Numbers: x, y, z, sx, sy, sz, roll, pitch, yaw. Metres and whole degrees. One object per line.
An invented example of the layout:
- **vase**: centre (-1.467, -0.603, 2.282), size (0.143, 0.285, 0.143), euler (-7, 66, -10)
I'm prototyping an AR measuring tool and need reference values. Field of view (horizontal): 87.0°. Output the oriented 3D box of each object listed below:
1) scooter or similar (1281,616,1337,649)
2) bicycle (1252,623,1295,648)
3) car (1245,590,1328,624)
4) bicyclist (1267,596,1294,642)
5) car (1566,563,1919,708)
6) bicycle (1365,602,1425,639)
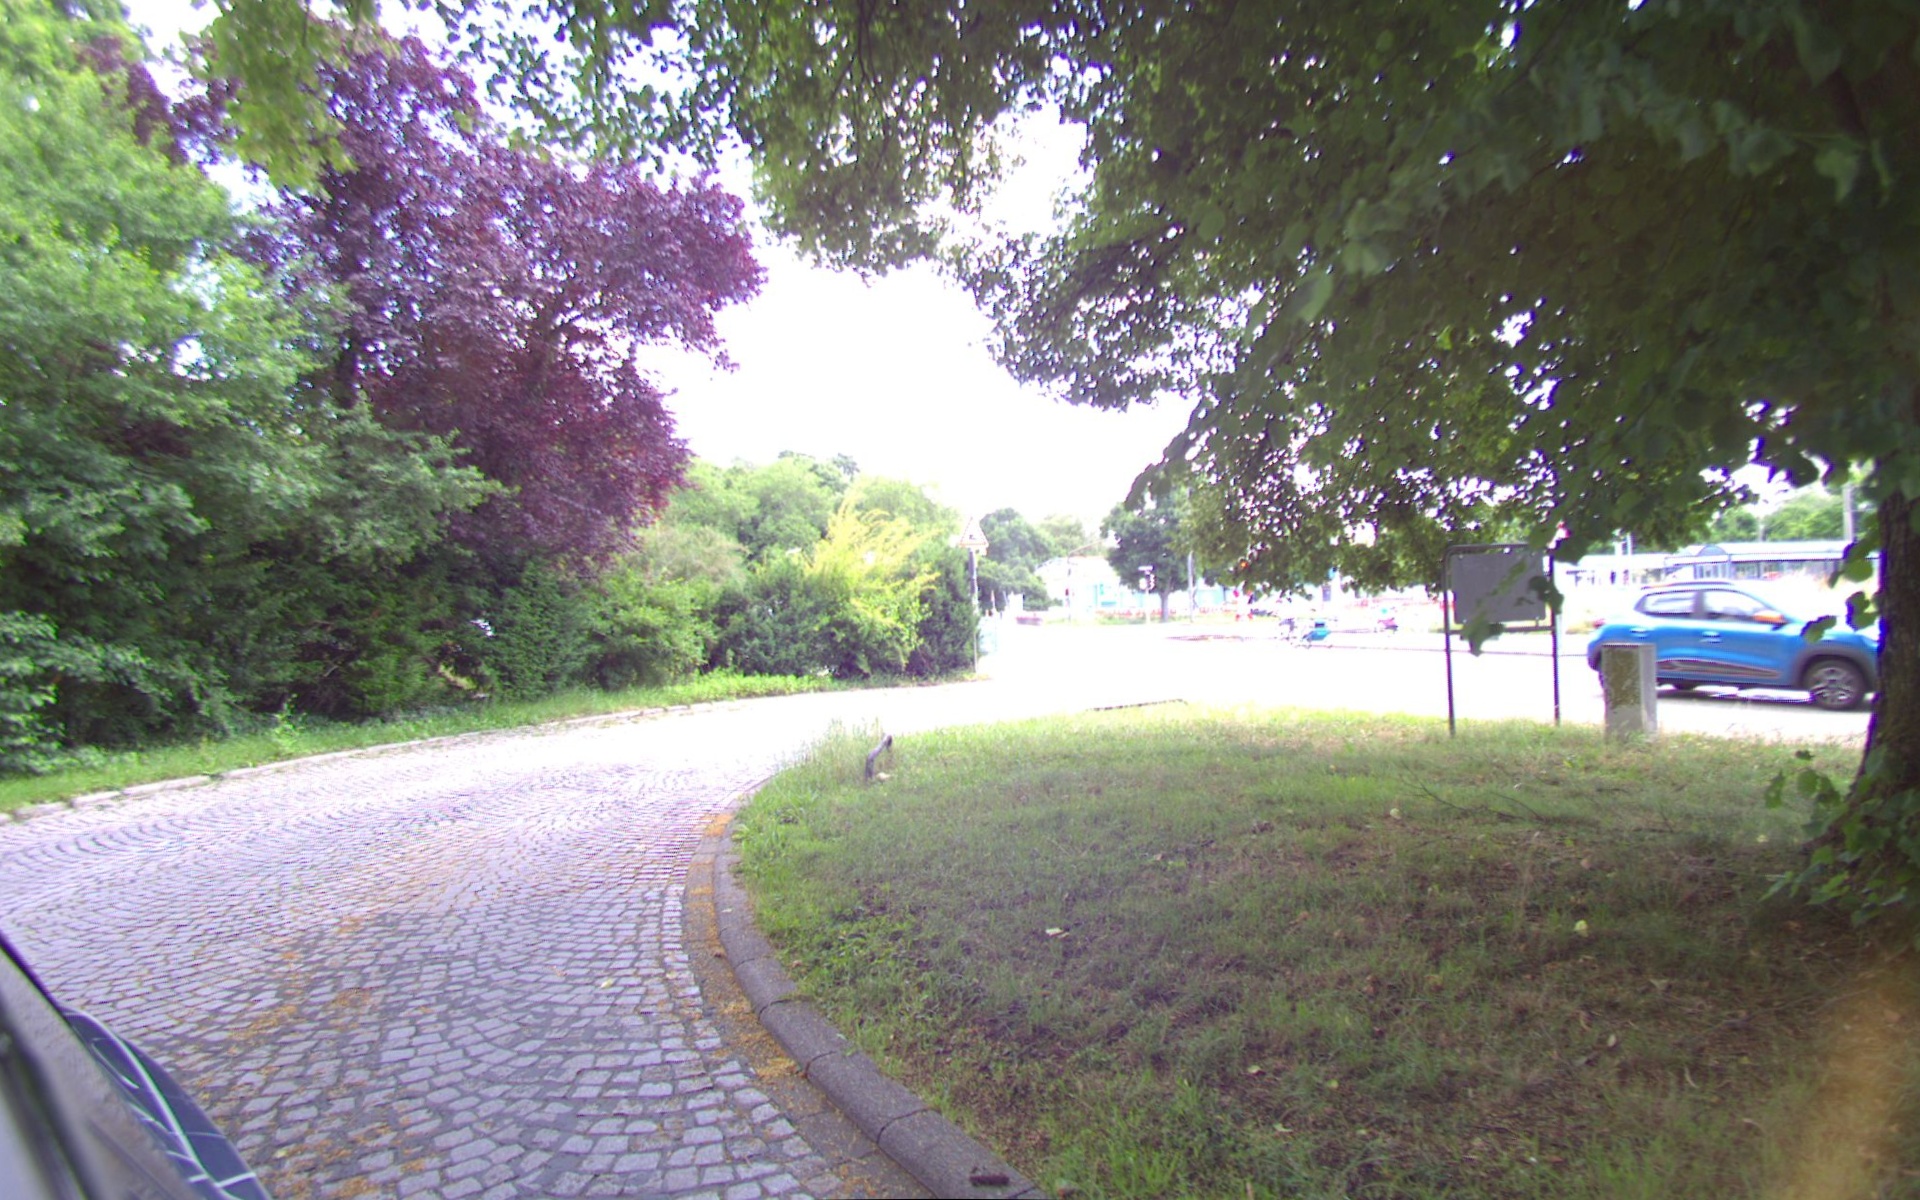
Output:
- **scooter or similar**: centre (11.093, 1.040, 32.212), size (0.946, 0.987, 1.583), euler (-2, -1, -13)
- **bicycle**: centre (10.552, 1.193, 34.140), size (0.546, 0.771, 1.732), euler (-2, -1, -13)
- **car**: centre (21.558, 0.488, 66.841), size (4.751, 2.029, 2.005), euler (-2, -1, -14)
- **bicyclist**: centre (10.660, 0.633, 33.680), size (0.448, 1.486, 0.844), euler (-2, -1, -13)
- **car**: centre (9.741, 0.412, 12.354), size (1.577, 1.475, 3.715), euler (-2, -1, -24)
- **bicycle**: centre (14.785, 0.689, 34.430), size (1.659, 1.141, 0.692), euler (-5, -2, 40)
